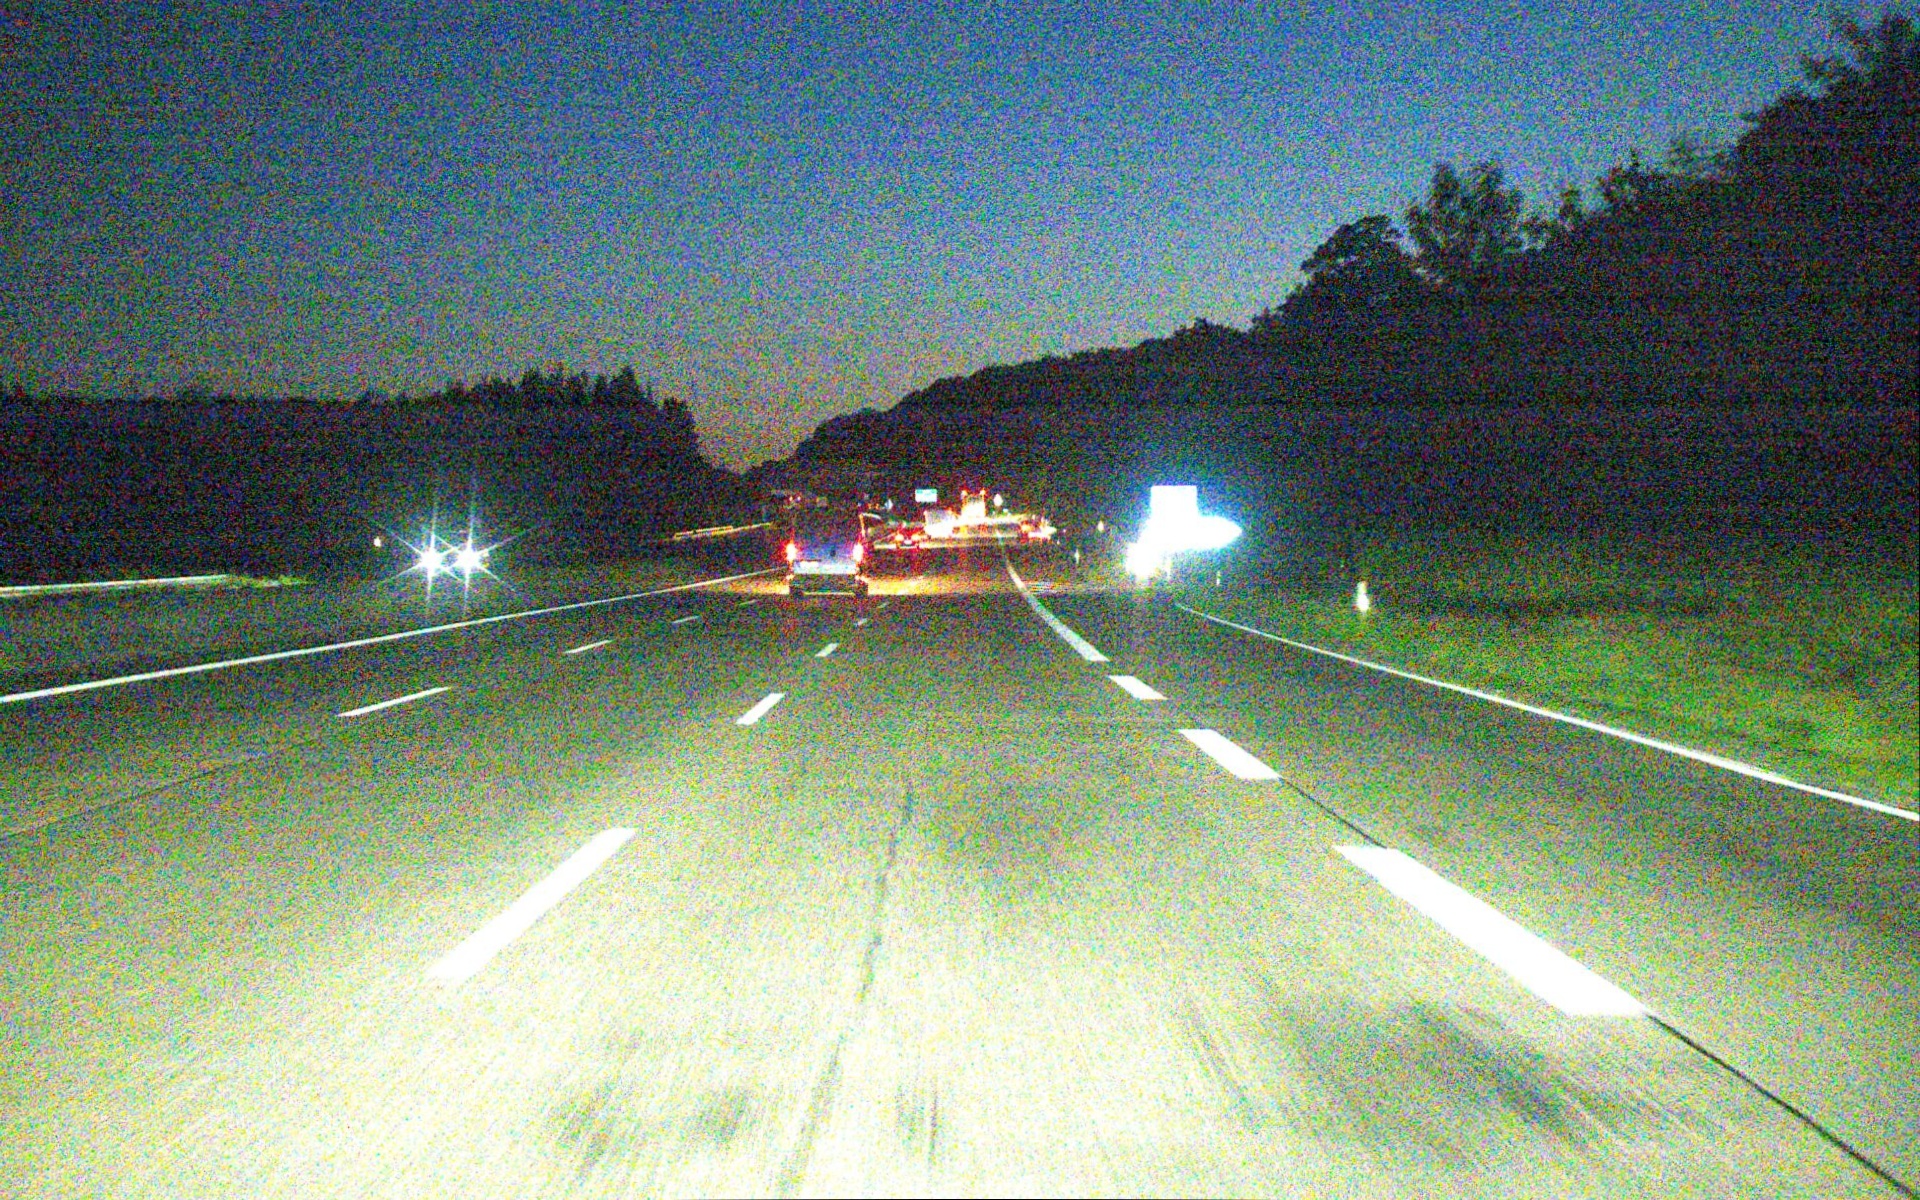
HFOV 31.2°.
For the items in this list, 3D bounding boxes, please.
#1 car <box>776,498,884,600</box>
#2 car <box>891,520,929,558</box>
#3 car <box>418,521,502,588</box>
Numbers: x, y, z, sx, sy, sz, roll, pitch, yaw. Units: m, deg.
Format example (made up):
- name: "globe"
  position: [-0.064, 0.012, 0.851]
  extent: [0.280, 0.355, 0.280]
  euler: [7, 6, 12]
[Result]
- name: "car"
  position: [-3.555, -1.368, 95.384]
  extent: [2.786, 2.724, 6.299]
  euler: [0, 0, 0]
- name: "car"
  position: [-3.742, -4.565, 257.140]
  extent: [2.786, 2.724, 6.299]
  euler: [0, 0, -1]
- name: "car"
  position: [-22.524, -2.037, 155.272]
  extent: [2.846, 2.927, 6.602]
  euler: [1, 1, 0]
